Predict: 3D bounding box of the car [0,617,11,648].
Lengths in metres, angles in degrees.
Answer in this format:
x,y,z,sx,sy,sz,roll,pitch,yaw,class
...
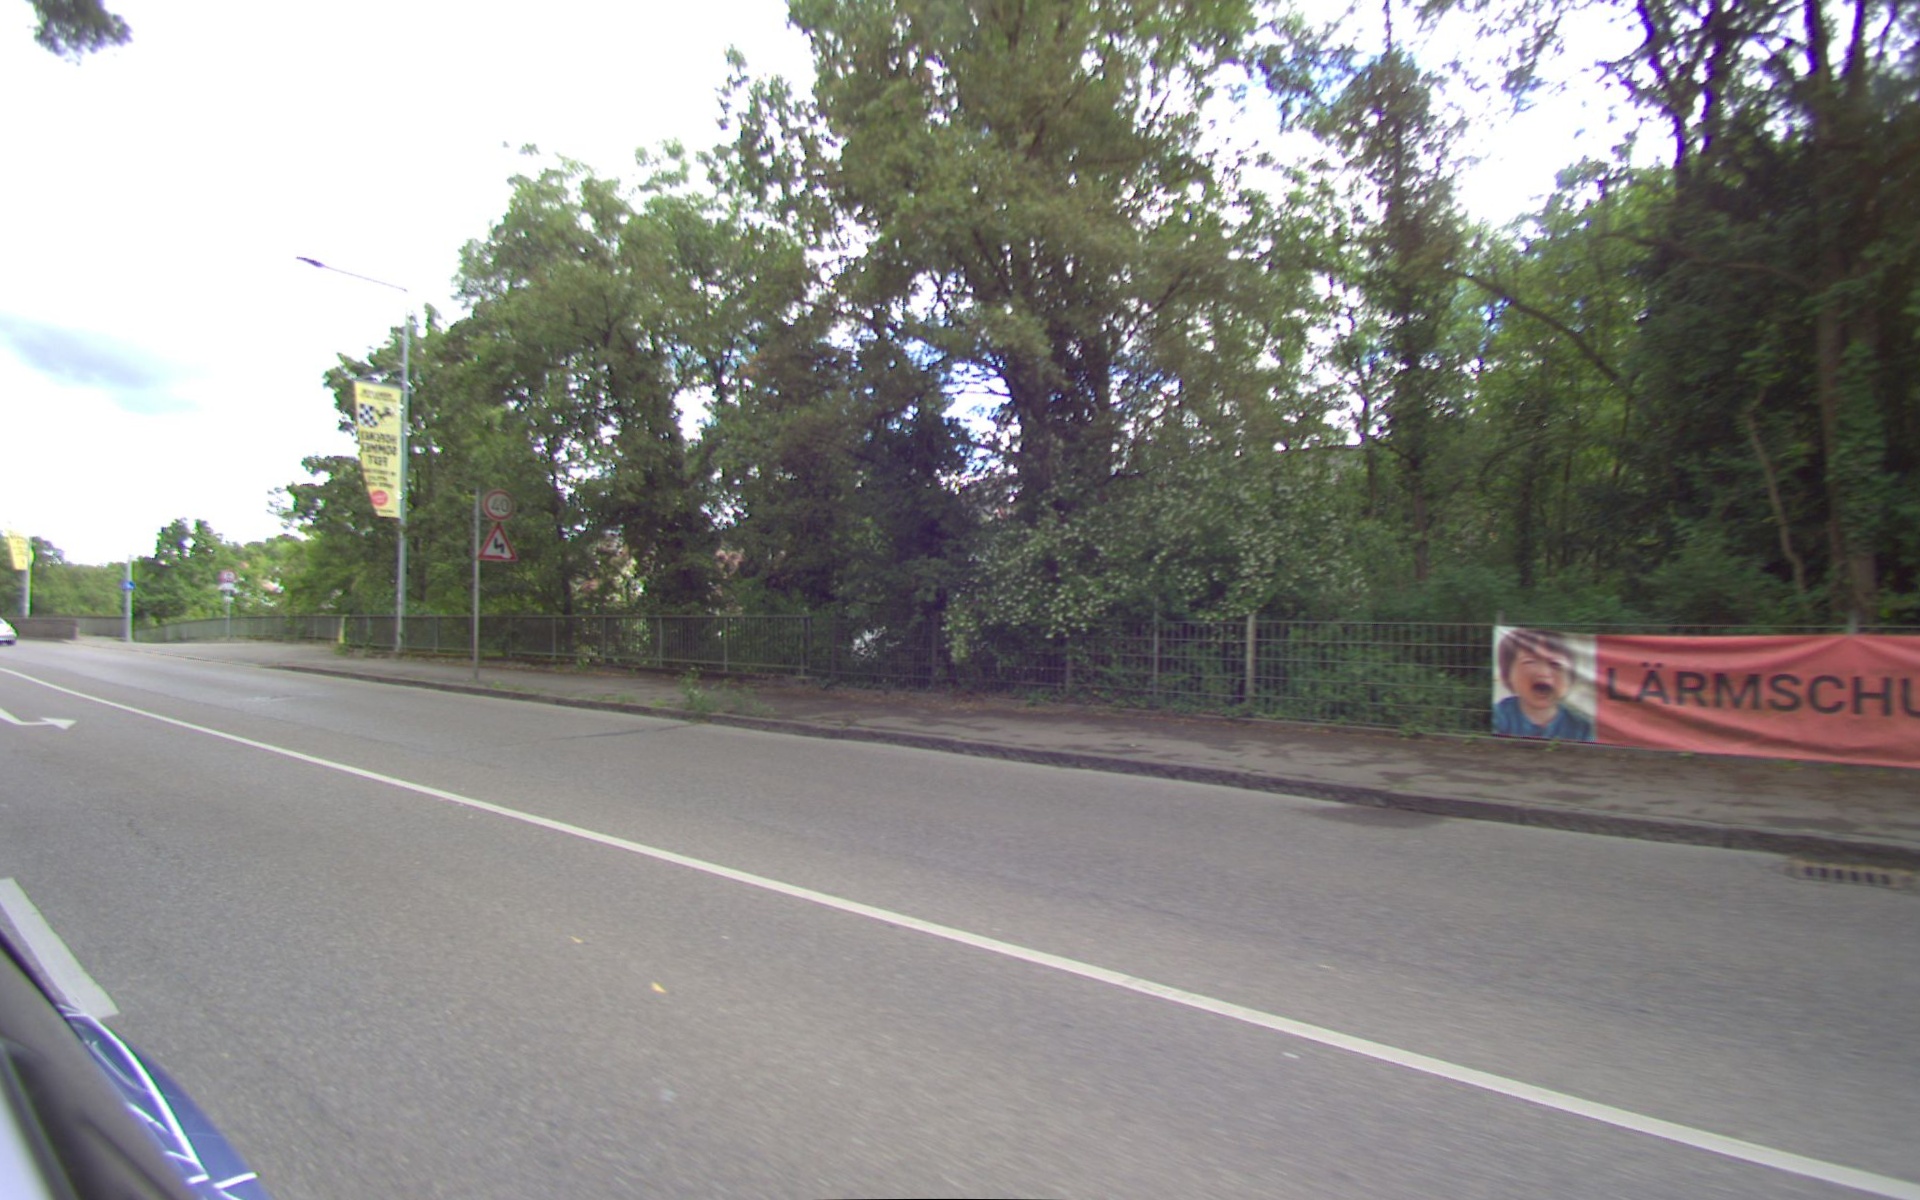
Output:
x,y,z,sx,sy,sz,roll,pitch,yaw,class
-43.276,1.461,44.462,3.691,1.347,1.741,-1,1,38,car
